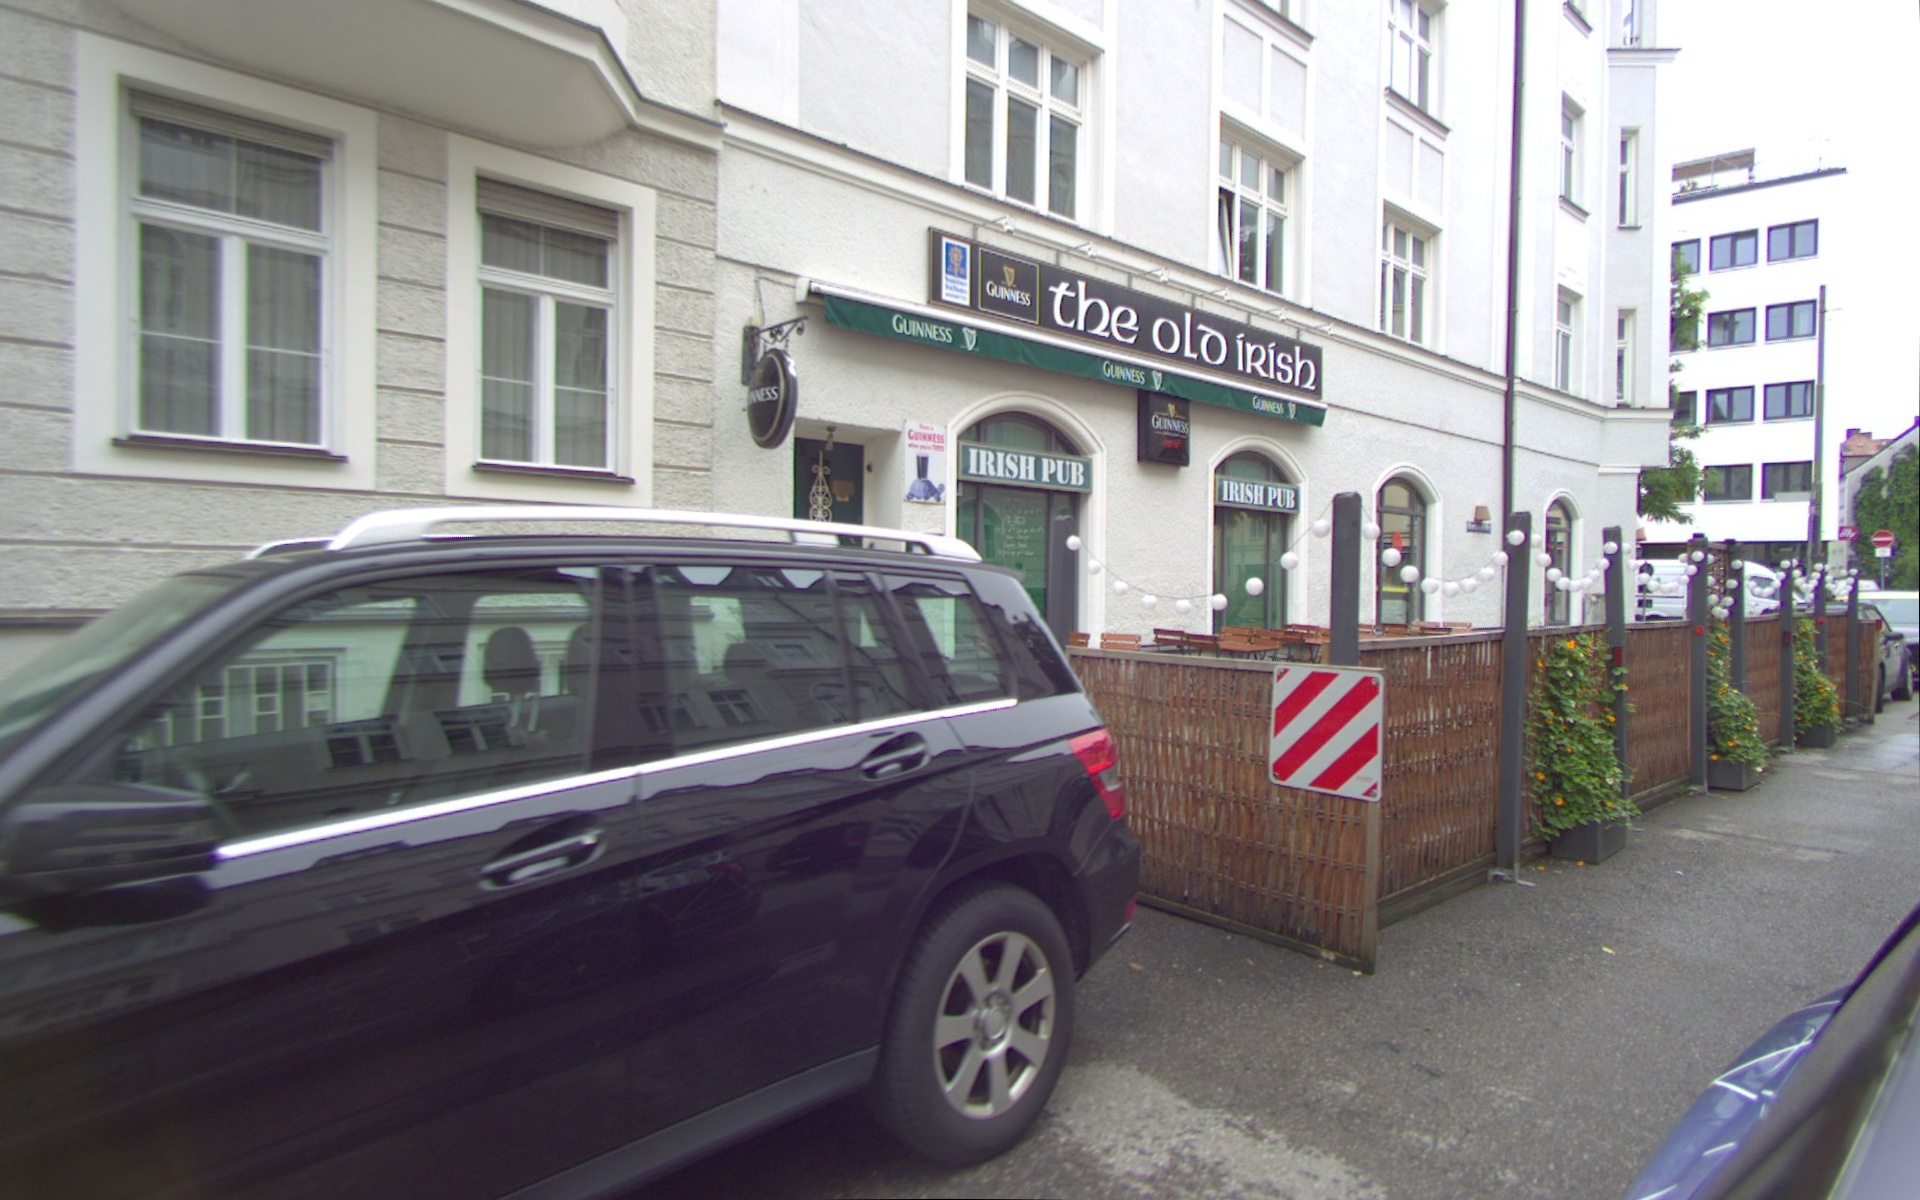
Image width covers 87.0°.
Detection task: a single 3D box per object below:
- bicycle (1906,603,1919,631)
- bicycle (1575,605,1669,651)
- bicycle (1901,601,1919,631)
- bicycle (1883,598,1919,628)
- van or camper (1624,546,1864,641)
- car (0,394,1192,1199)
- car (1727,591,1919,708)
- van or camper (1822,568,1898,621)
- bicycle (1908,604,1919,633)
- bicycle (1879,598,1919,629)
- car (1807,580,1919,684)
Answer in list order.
[{"bbox_3d":[34.996,0.640,35.781,2.162,0.976,0.962,1,1,37],"label":"bicycle"},{"bbox_3d":[17.970,0.731,27.514,0.674,1.144,2.011,0,1,-36],"label":"bicycle"},{"bbox_3d":[35.620,0.600,36.675,2.094,1.045,0.962,1,1,37],"label":"bicycle"},{"bbox_3d":[37.972,0.506,39.984,2.169,1.160,0.666,1,1,37],"label":"bicycle"},{"bbox_3d":[24.772,-0.220,32.184,5.846,2.749,2.270,1,-2,41],"label":"van or camper"},{"bbox_3d":[-1.389,0.593,2.403,4.119,1.696,1.801,0,-1,-44],"label":"car"},{"bbox_3d":[12.142,0.616,14.064,3.431,1.418,1.669,0,-1,-41],"label":"car"},{"bbox_3d":[45.103,-0.304,50.824,1.953,2.540,5.657,1,1,33],"label":"van or camper"},{"bbox_3d":[34.267,0.662,34.900,2.165,0.988,0.962,1,1,37],"label":"bicycle"},{"bbox_3d":[36.863,0.518,38.880,2.196,1.160,0.730,1,1,37],"label":"bicycle"},{"bbox_3d":[16.373,0.506,17.633,4.023,1.639,1.839,0,-1,-41],"label":"car"}]
